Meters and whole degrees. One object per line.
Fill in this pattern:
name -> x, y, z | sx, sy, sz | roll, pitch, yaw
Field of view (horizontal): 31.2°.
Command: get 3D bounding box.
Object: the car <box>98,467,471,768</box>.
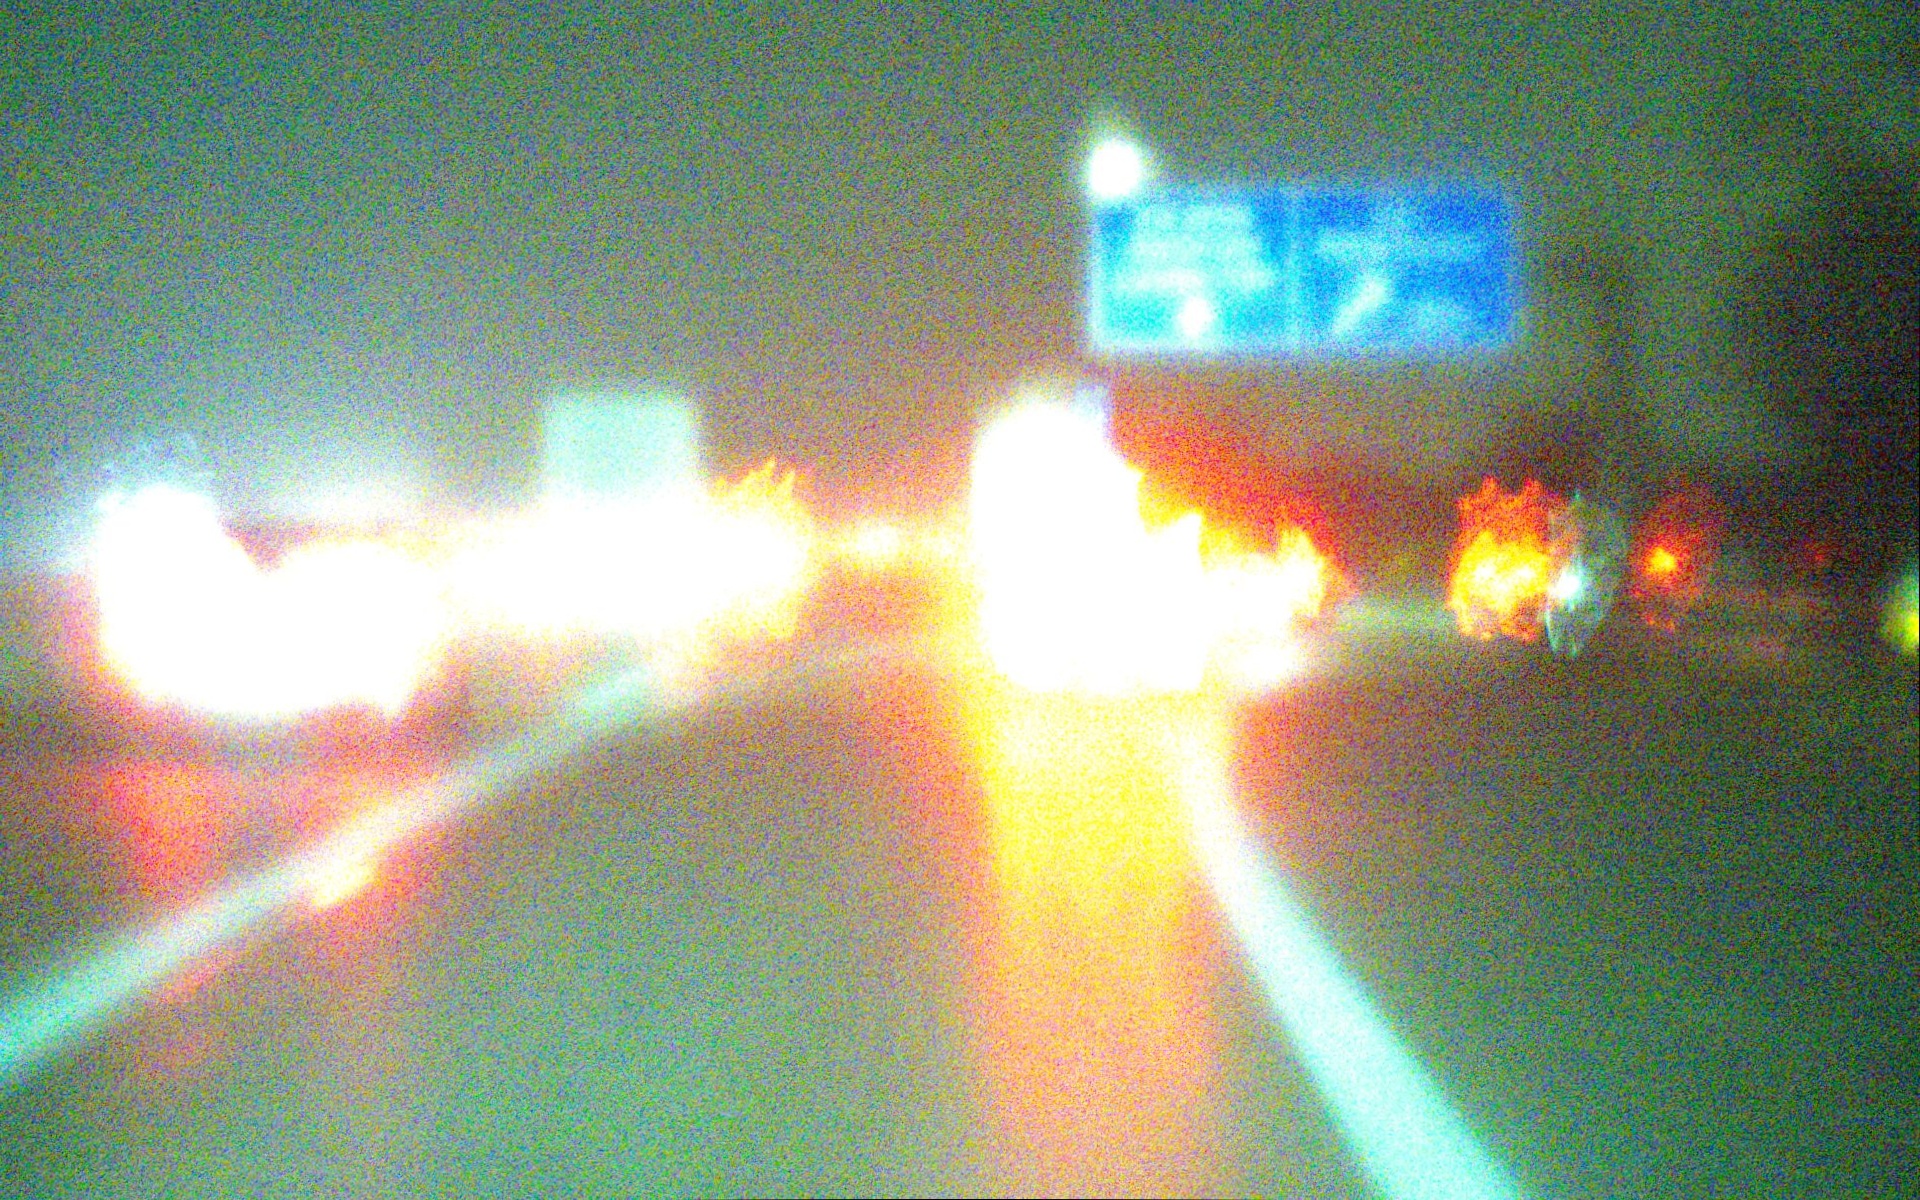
car -> -4.920, 0.091, 25.691 | 2.125, 2.007, 4.646 | 1, 1, -4

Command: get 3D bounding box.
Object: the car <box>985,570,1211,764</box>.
car -> 1.340, 0.628, 34.983 | 1.993, 1.801, 4.000 | 1, 1, -2

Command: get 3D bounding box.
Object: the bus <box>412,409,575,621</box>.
bus -> -10.629, -1.907, 79.221 | 3.096, 4.492, 10.915 | 1, 1, -5

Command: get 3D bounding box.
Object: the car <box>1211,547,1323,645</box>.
car -> 5.893, -0.095, 66.363 | 1.994, 1.801, 4.000 | 1, 1, 3

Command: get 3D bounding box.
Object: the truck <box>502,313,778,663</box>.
truck -> -5.529, -1.905, 61.891 | 4.210, 5.629, 11.469 | 1, 1, -2
